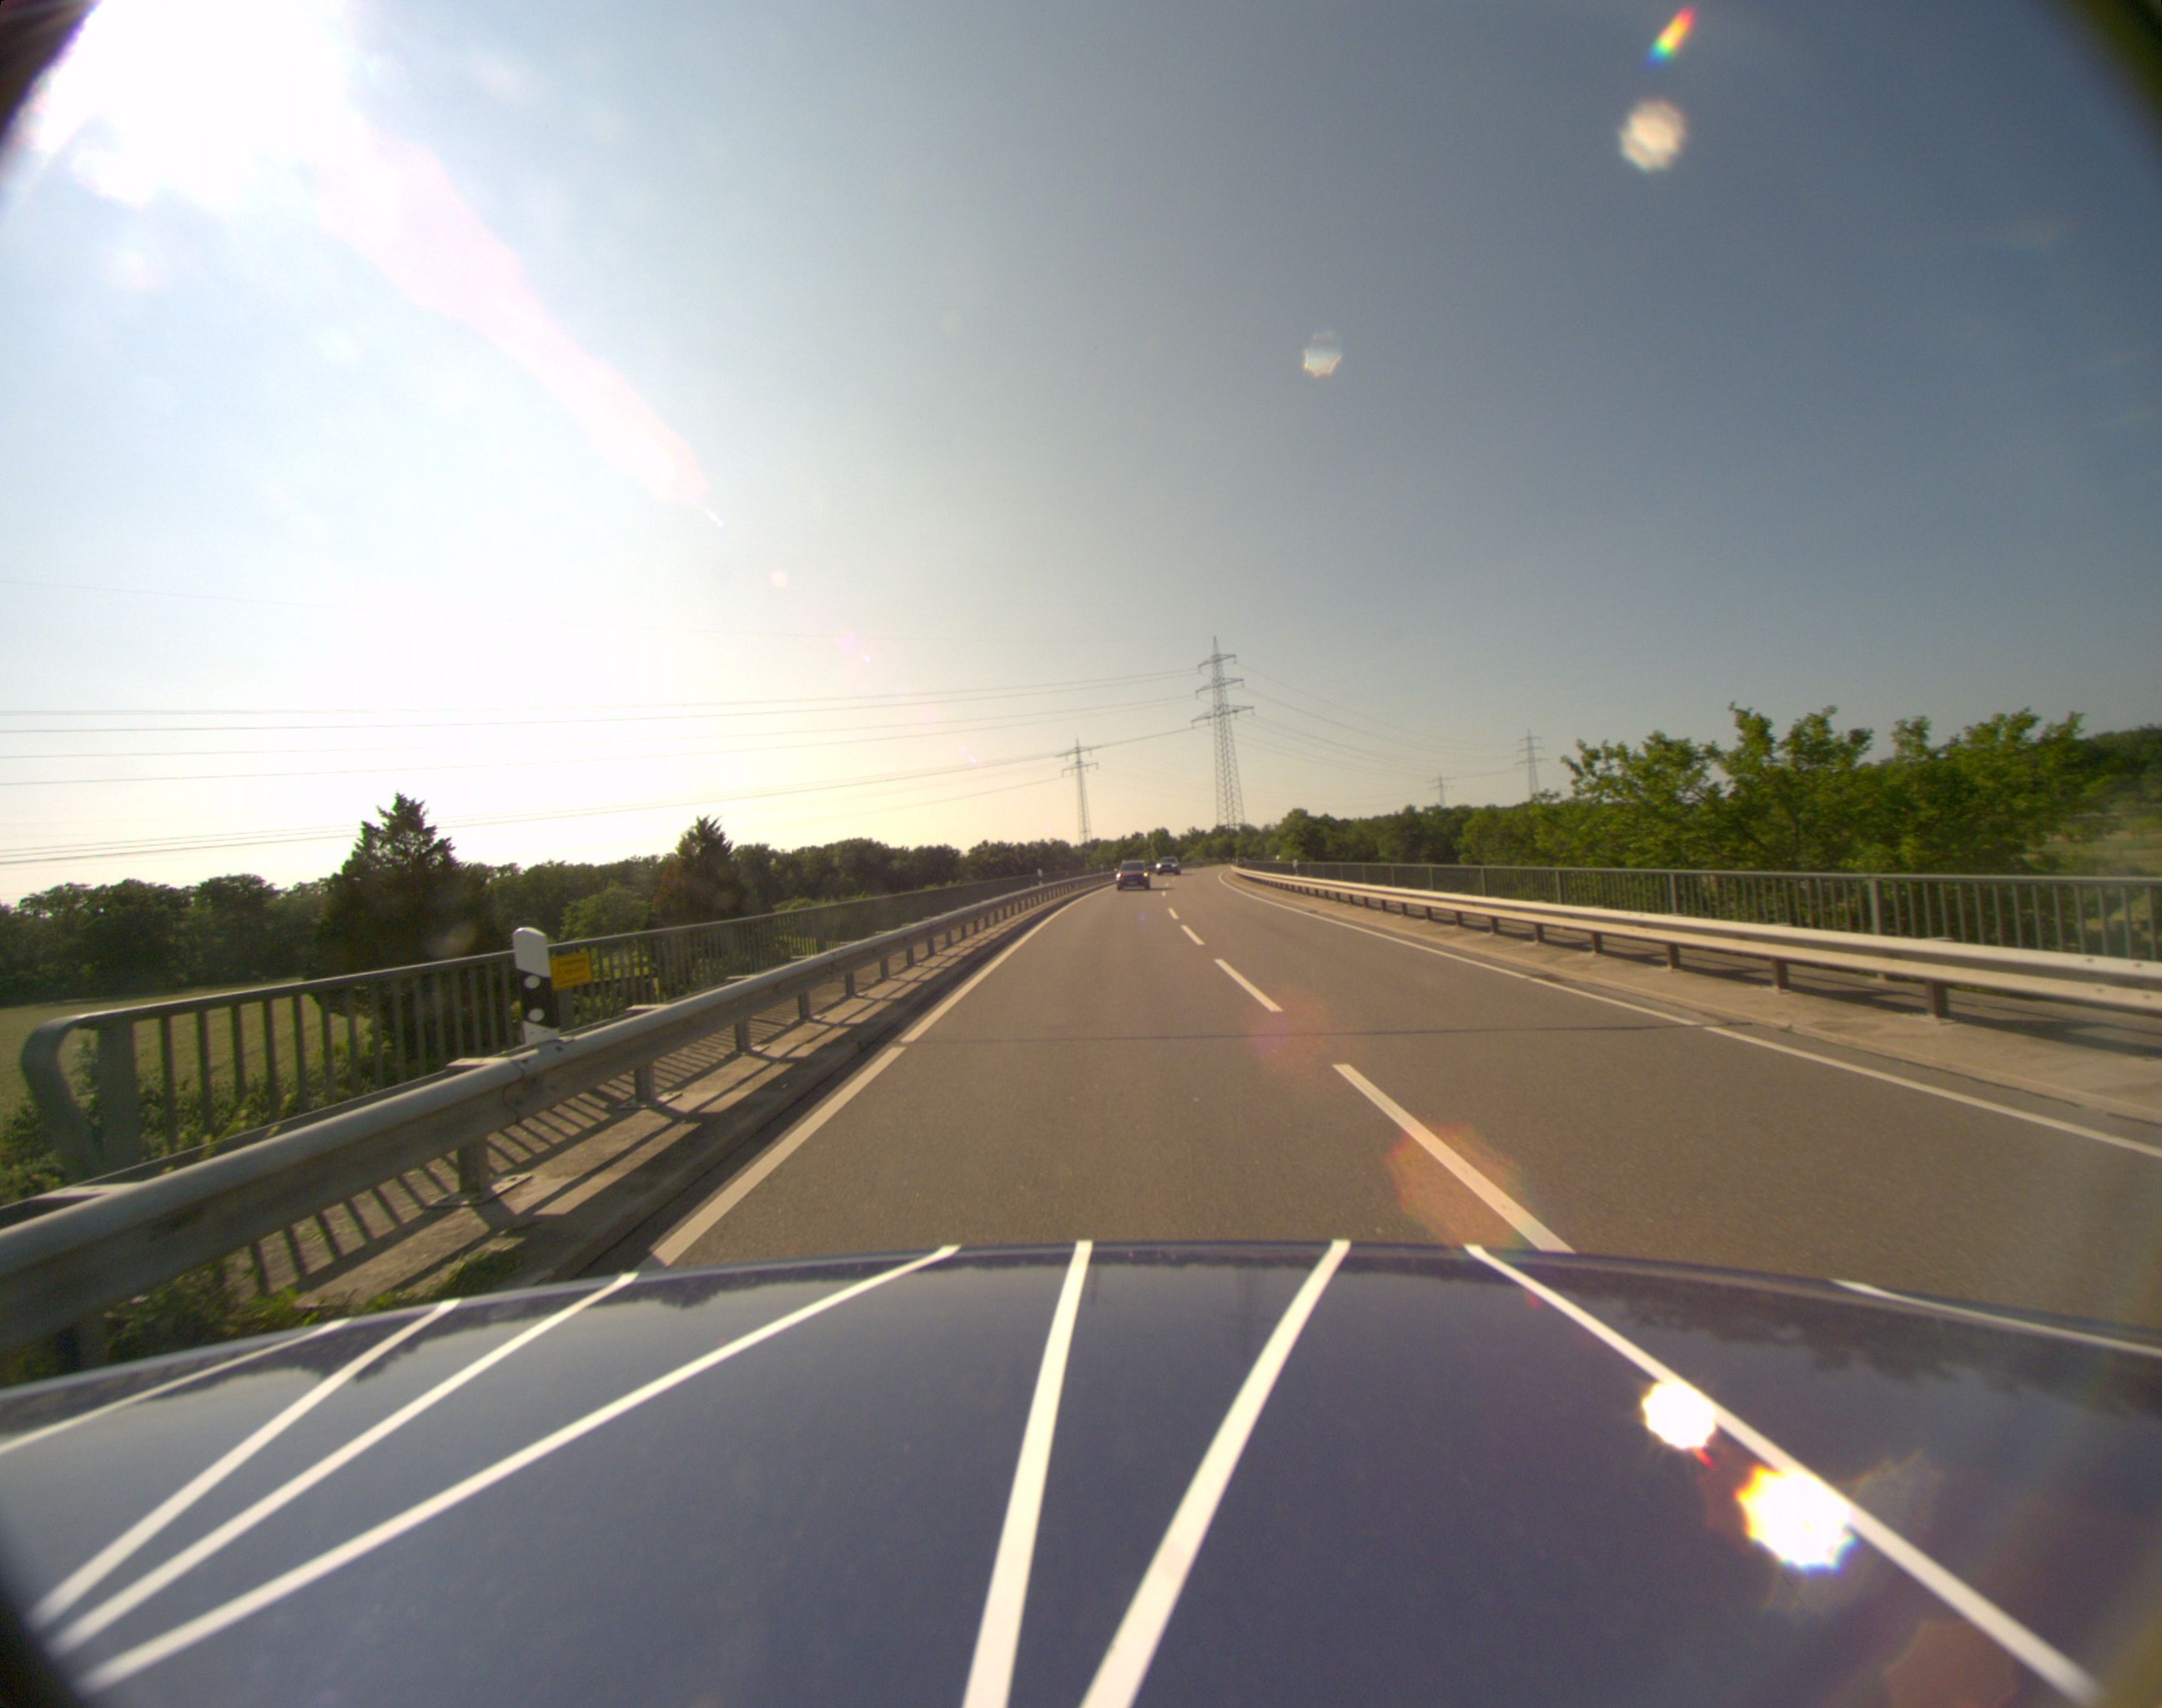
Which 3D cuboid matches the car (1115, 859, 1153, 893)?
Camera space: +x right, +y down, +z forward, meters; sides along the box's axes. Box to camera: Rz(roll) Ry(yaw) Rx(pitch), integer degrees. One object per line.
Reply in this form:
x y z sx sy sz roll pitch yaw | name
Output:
2.811 1.102 39.545 1.606 1.486 4.002 -3 1 8 | car

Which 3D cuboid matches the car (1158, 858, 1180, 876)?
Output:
8.177 1.203 70.431 1.605 1.486 4.003 -3 1 12 | car
